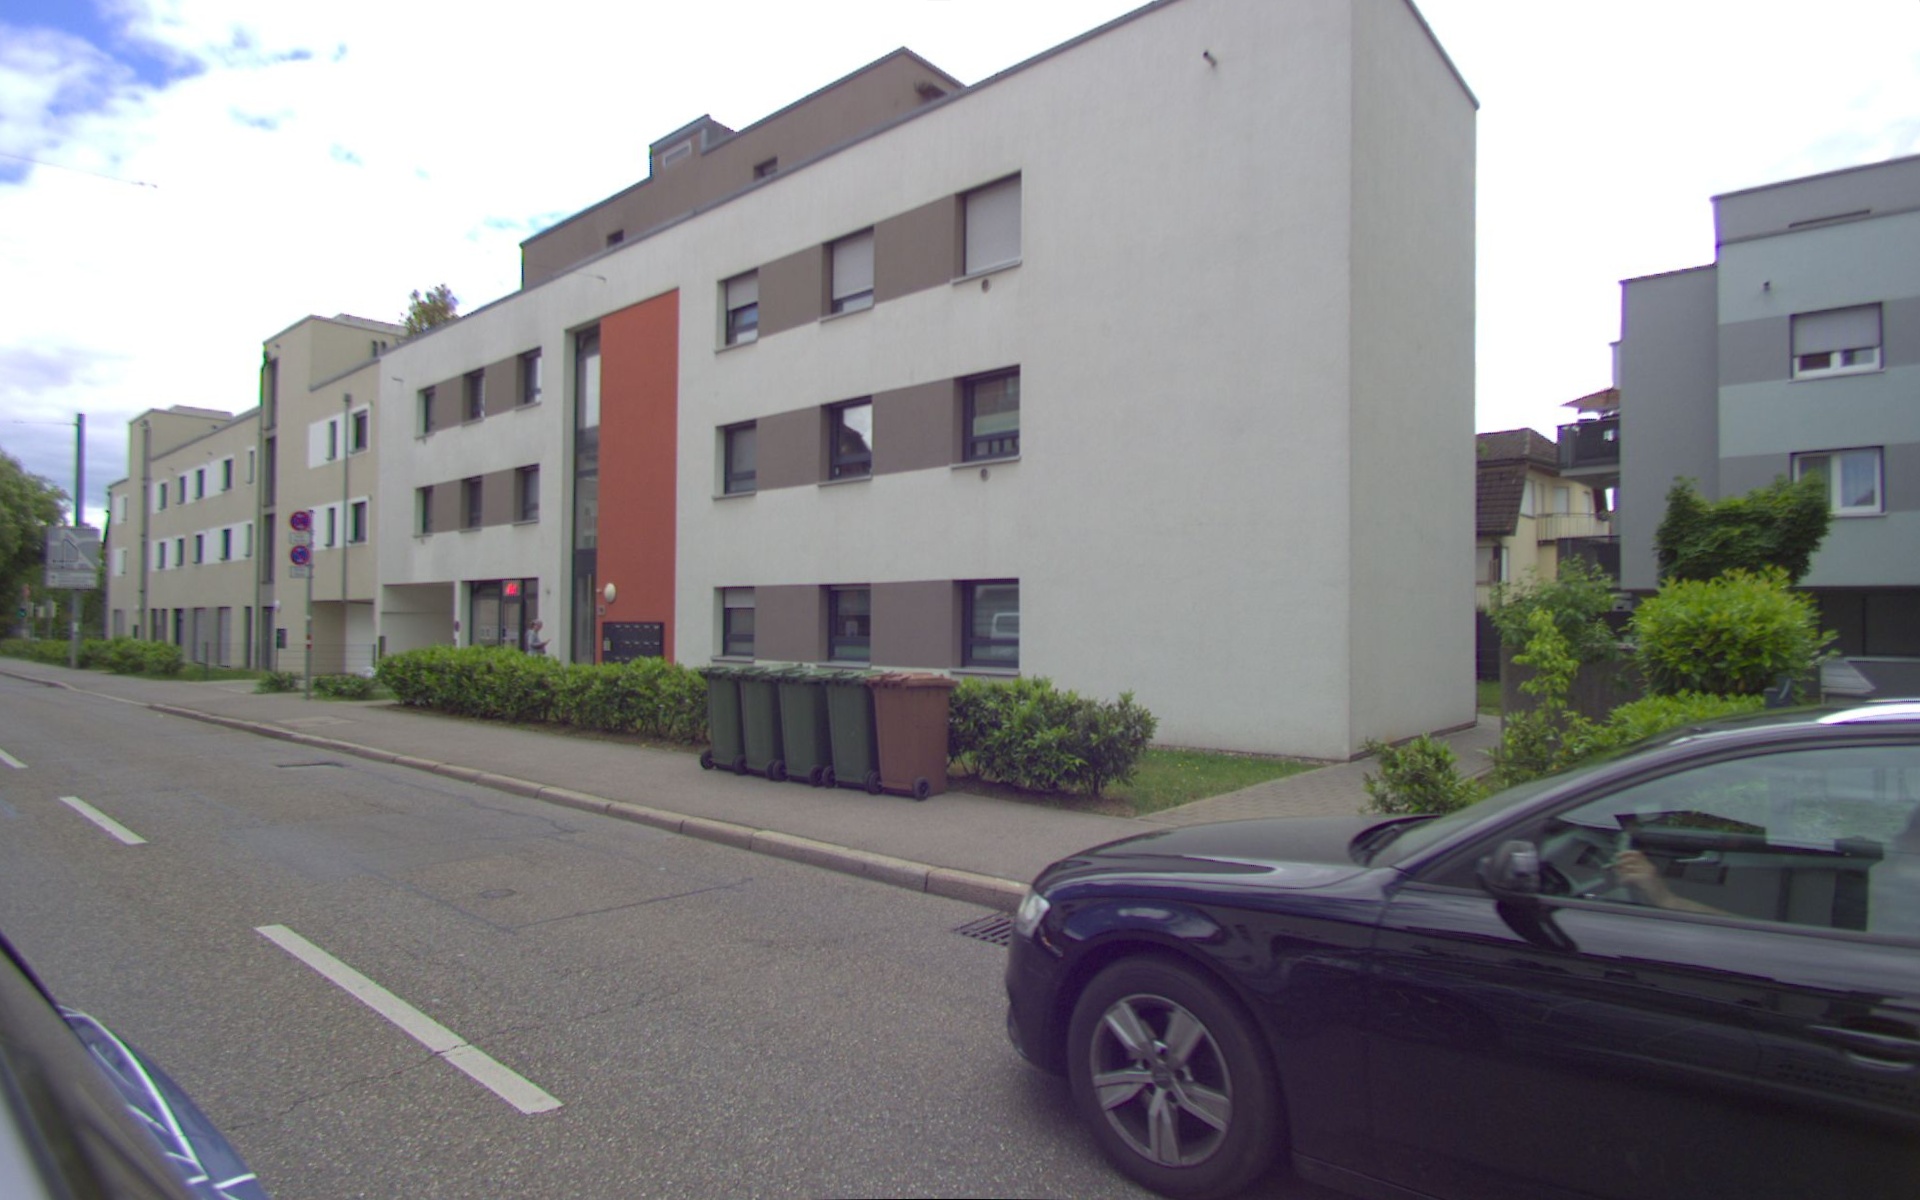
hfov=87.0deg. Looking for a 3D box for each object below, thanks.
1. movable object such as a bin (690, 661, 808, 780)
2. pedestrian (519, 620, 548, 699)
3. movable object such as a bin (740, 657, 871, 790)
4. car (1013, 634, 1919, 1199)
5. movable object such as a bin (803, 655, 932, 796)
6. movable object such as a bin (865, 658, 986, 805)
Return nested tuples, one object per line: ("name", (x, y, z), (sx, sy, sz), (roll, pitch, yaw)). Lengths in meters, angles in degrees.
("movable object such as a bin", (-2.142, 1.191, 10.292), (0.791, 1.097, 0.886), (-1, -2, 36))
("pedestrian", (-9.086, 1.254, 21.556), (0.511, 1.655, 0.642), (0, -2, -29))
("movable object such as a bin", (-1.487, 1.150, 9.778), (0.839, 1.160, 0.947), (-1, -2, 36))
("car", (2.356, 0.839, 2.318), (4.211, 1.462, 1.859), (-2, -4, 41))
("movable object such as a bin", (-0.839, 1.107, 9.267), (0.748, 1.160, 0.940), (-1, -2, 36))
("movable object such as a bin", (-0.291, 1.101, 8.804), (0.612, 1.160, 0.932), (-1, -2, 36))
